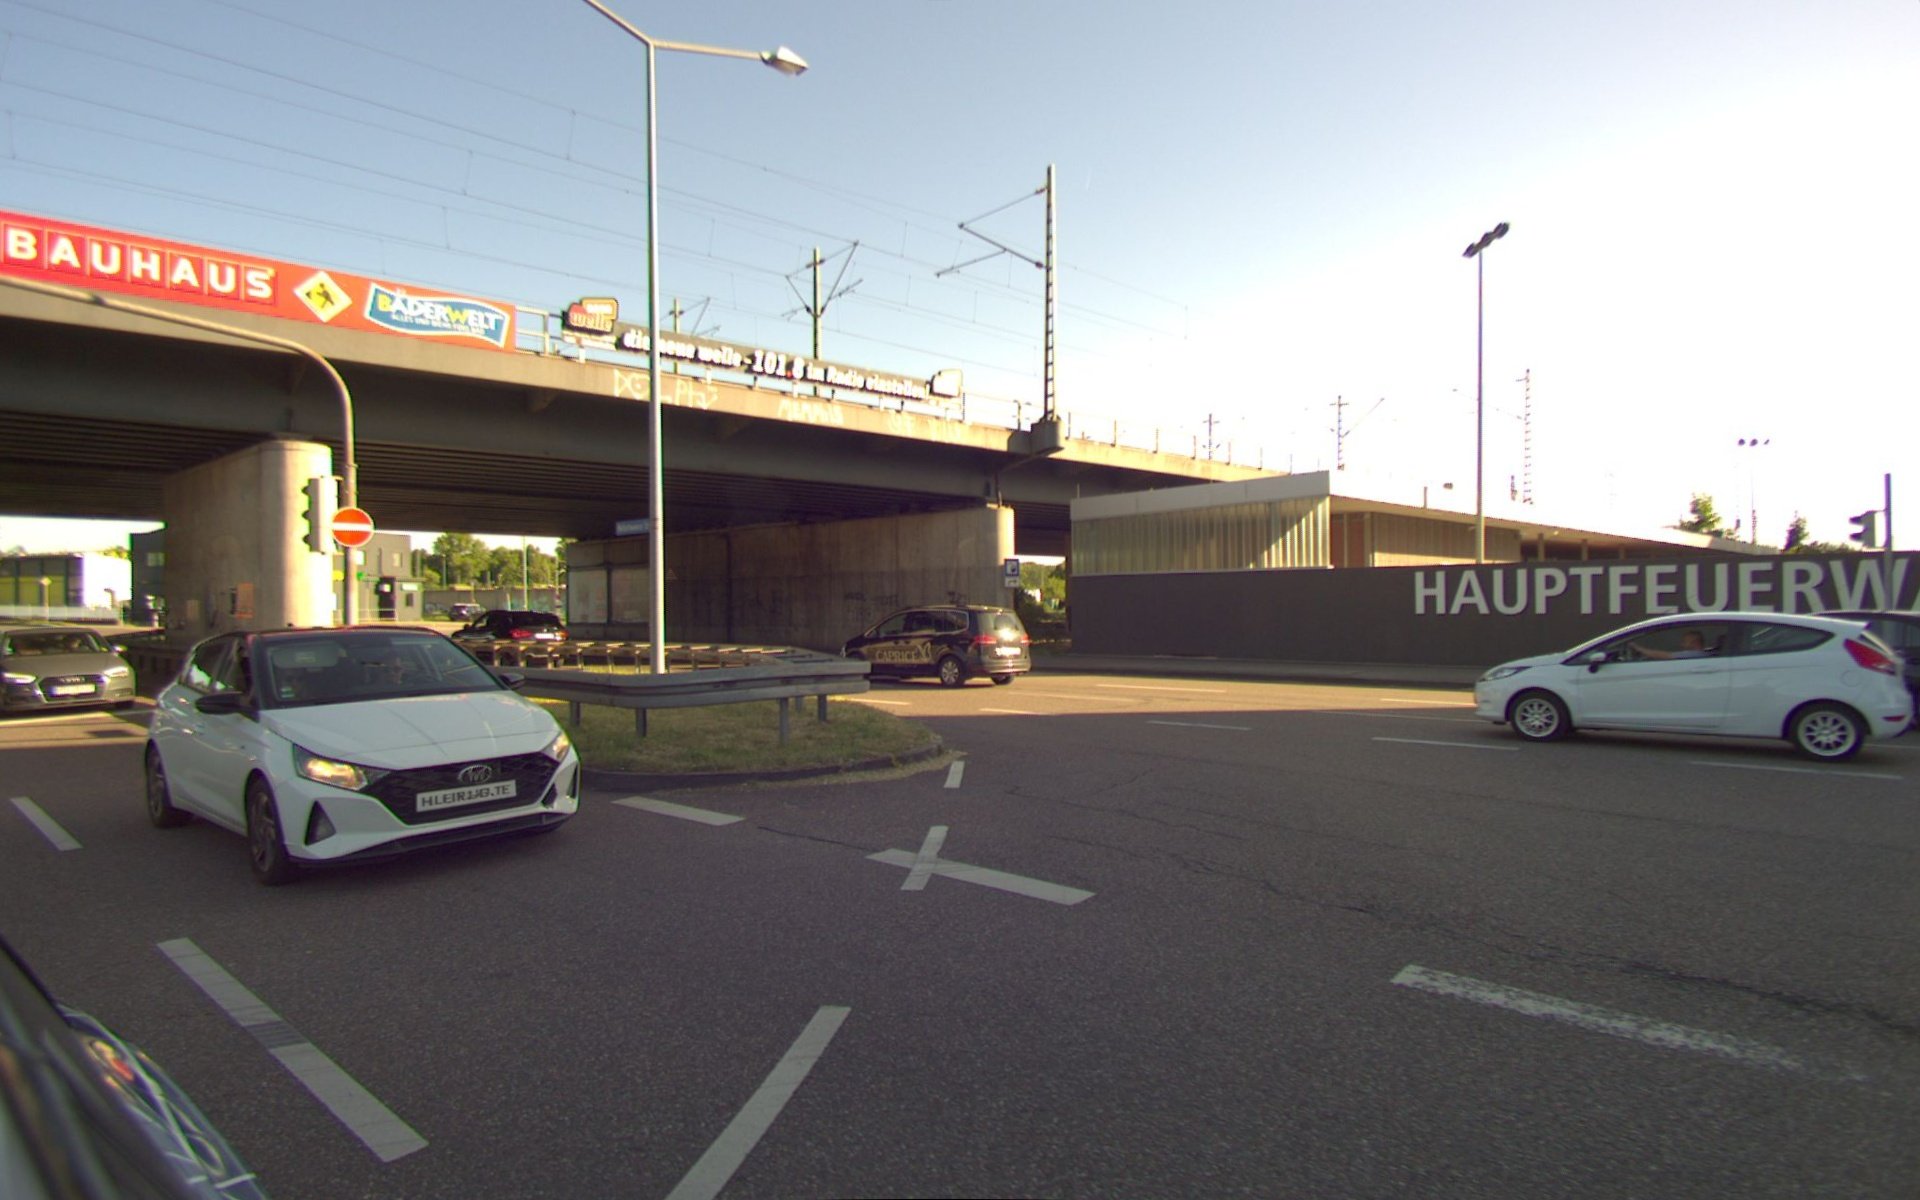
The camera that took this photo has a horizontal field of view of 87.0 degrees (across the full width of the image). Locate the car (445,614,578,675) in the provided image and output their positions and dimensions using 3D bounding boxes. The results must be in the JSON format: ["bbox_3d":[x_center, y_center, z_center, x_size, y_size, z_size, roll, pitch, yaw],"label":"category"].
[{"bbox_3d":[-13.106,1.258,29.460,4.527,1.638,1.805,-1,-3,41],"label":"car"}]

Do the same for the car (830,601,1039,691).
[{"bbox_3d":[-0.648,0.962,22.052,4.630,1.751,1.804,-1,-3,44],"label":"car"}]

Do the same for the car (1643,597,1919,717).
[{"bbox_3d":[11.925,0.755,13.855,1.625,1.493,3.985,3,-3,-39],"label":"car"}]

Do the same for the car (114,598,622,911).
[{"bbox_3d":[-4.204,0.816,6.922,3.987,1.491,1.716,-2,0,40],"label":"car"}]

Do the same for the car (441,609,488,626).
[{"bbox_3d":[-41.011,1.462,83.912,1.805,1.291,4.181,1,-2,0],"label":"car"}]

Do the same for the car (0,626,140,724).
[{"bbox_3d":[-15.551,1.216,17.197,3.979,1.431,1.825,-2,-1,41],"label":"car"}]

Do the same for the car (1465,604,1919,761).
[{"bbox_3d":[7.859,0.794,10.987,3.977,1.415,1.629,-1,-3,42],"label":"car"}]
